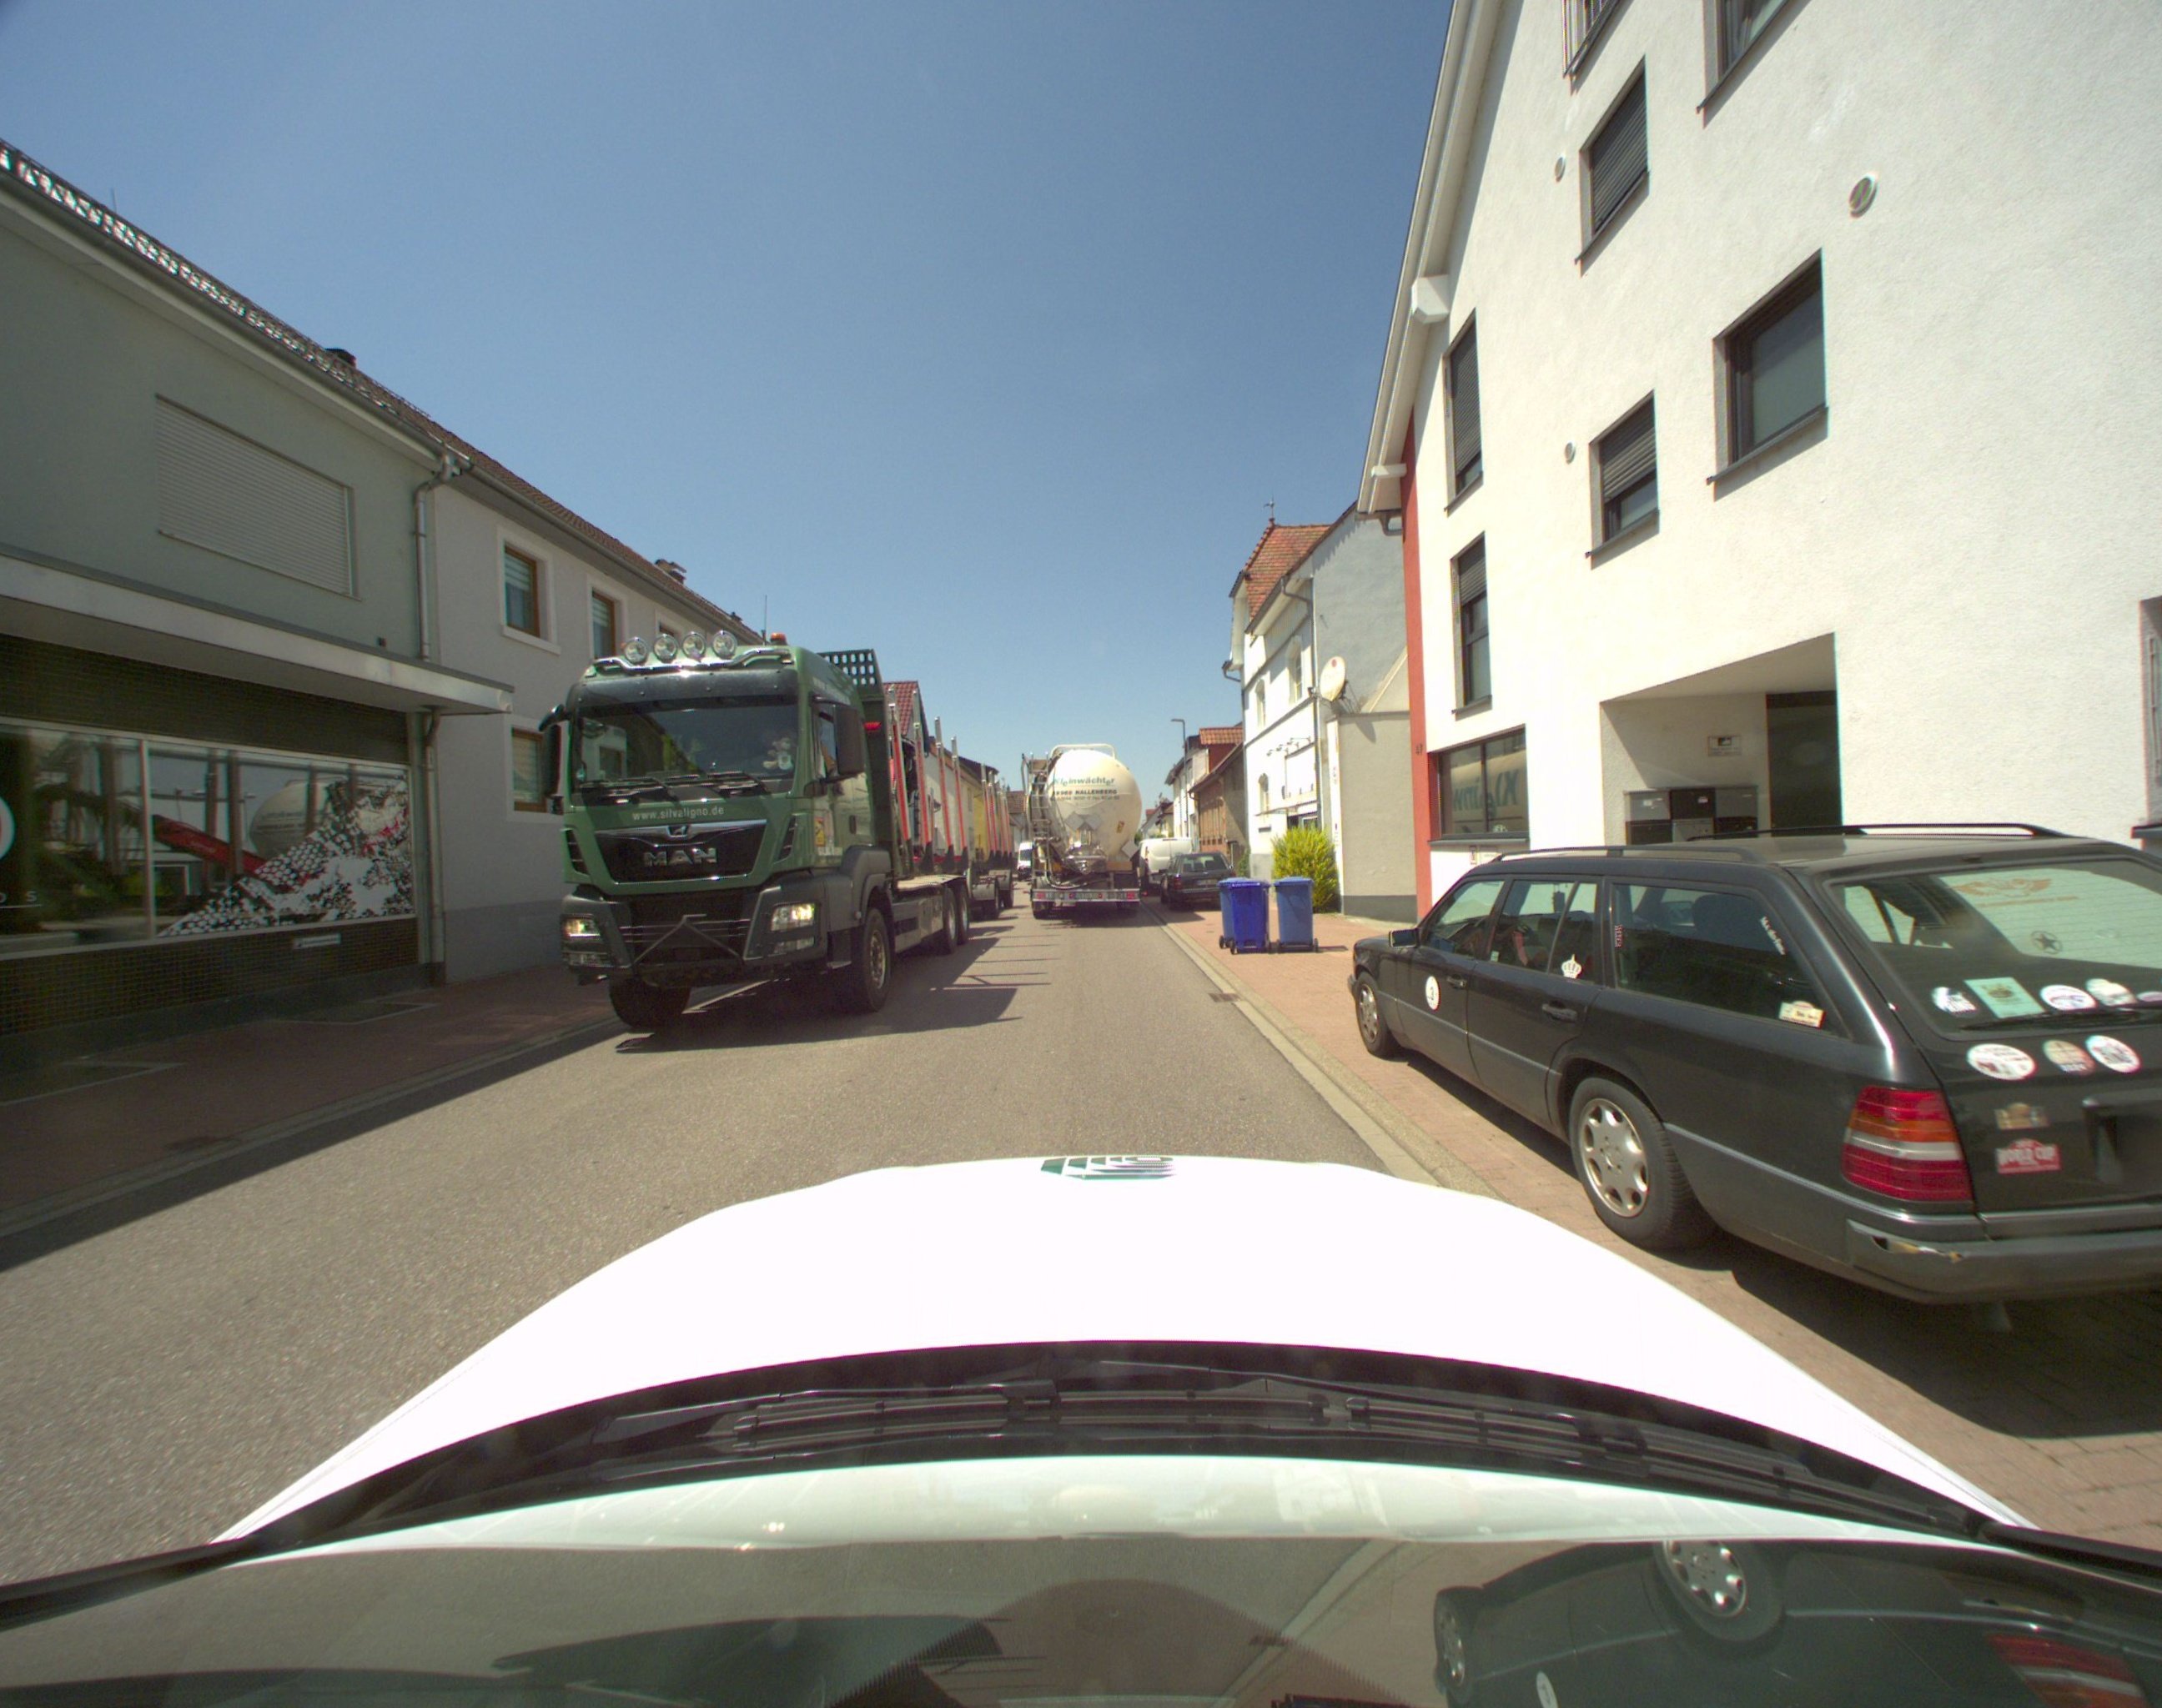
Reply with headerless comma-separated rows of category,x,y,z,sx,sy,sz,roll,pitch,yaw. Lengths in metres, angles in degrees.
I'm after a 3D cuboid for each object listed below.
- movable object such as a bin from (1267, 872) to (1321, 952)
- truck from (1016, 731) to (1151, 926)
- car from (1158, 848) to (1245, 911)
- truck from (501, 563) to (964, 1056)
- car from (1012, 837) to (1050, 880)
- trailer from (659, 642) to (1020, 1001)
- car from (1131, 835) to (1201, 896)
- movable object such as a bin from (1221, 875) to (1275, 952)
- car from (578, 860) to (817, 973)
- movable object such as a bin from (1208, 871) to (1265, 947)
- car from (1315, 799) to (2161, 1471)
movable object such as a bin,3.066,0.818,11.684,0.649,1.060,0.839,-3,0,17
truck,0.089,-0.497,20.766,2.723,3.960,8.141,-1,0,0
car,3.135,0.602,22.057,1.763,1.466,4.579,-2,0,2
truck,-3.402,-0.377,10.231,2.610,3.985,6.852,-3,0,0
car,-3.166,0.287,52.674,2.119,2.542,5.460,-3,0,-1
trailer,-3.356,-0.372,17.183,2.622,3.979,15.697,-3,0,0
car,3.016,0.378,29.970,1.940,1.970,4.783,-2,0,-1
movable object such as a bin,2.460,0.864,11.954,0.650,1.035,0.687,-3,0,16
car,-6.180,0.905,13.841,1.802,1.557,4.566,1,0,1
movable object such as a bin,2.432,0.841,12.661,0.716,1.073,0.976,-3,0,17
car,2.770,0.604,4.258,1.694,1.446,4.837,-4,0,1
